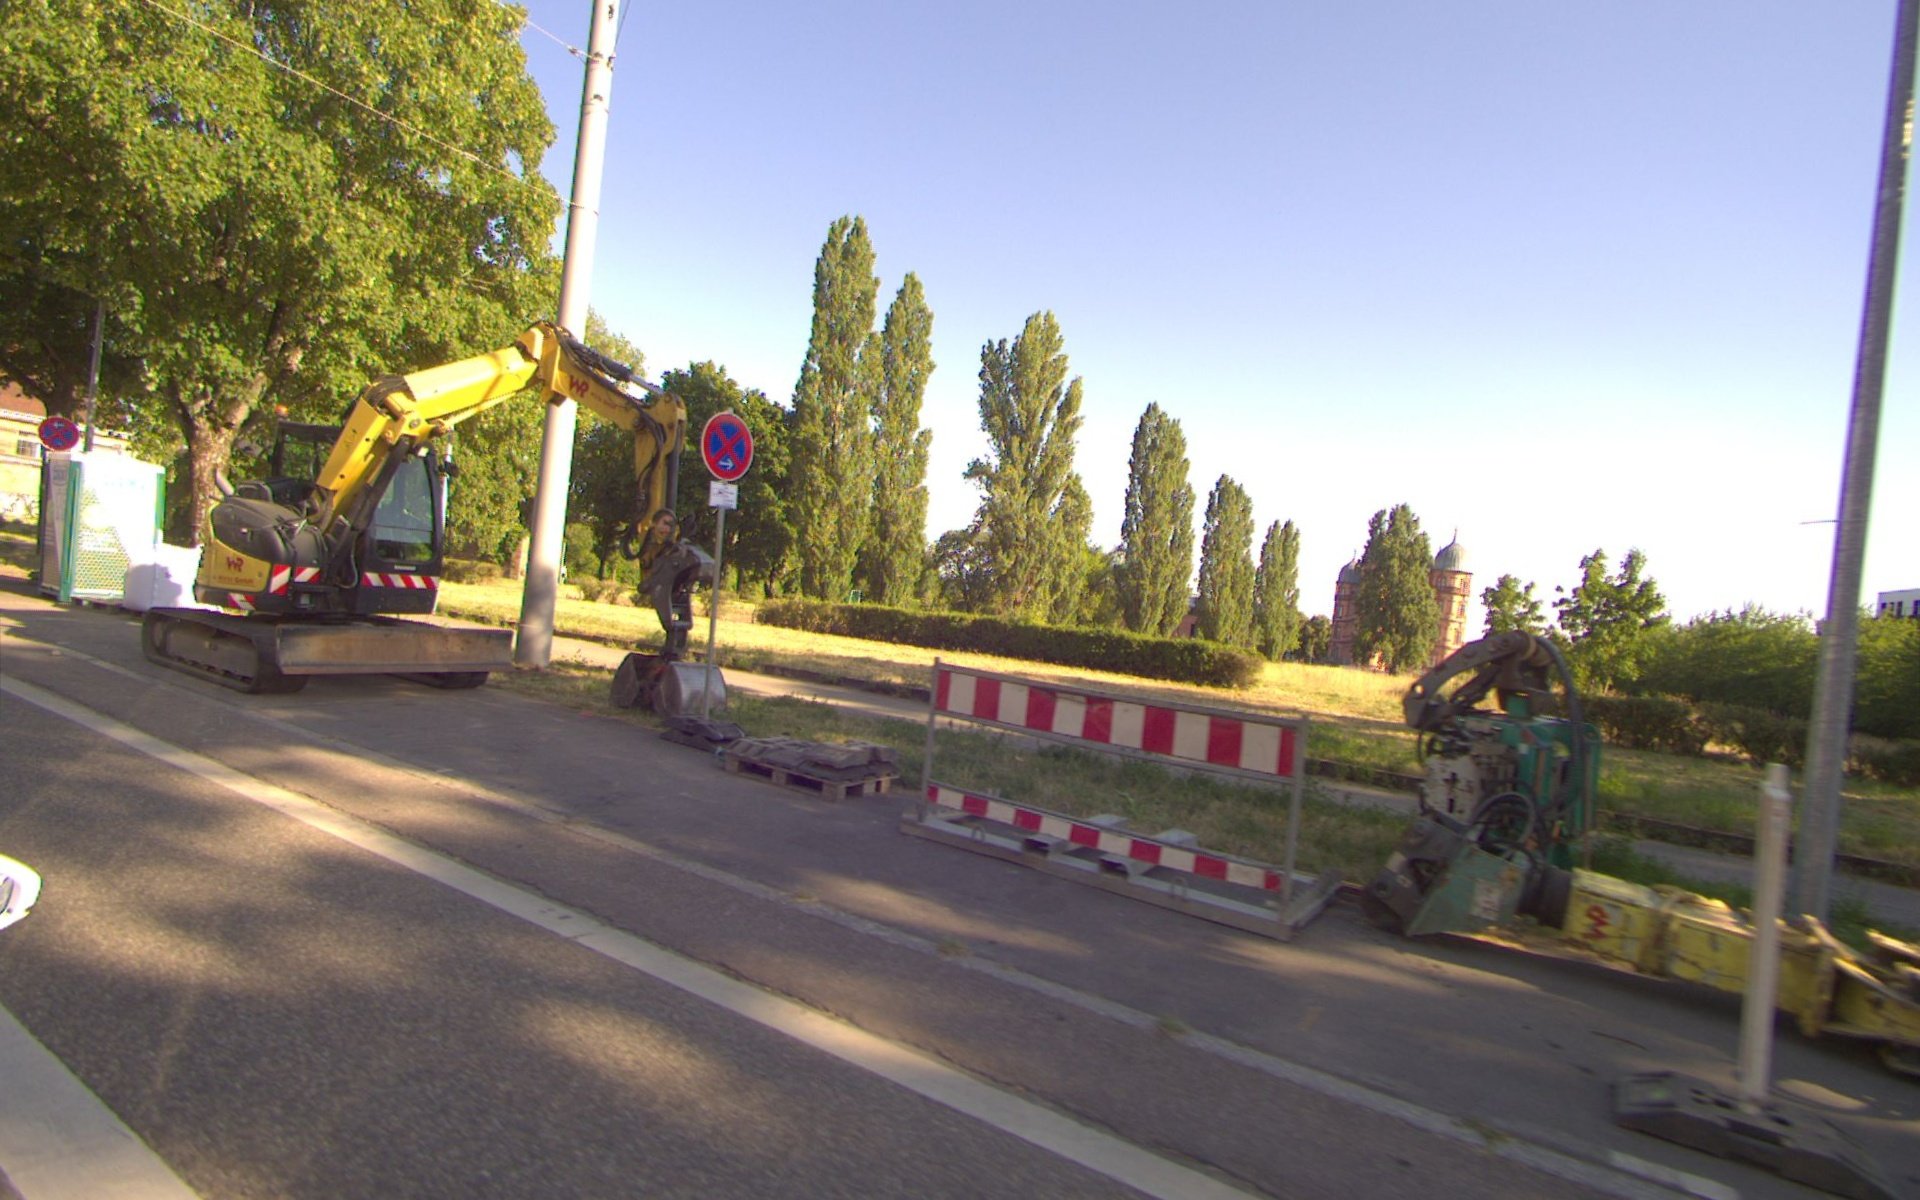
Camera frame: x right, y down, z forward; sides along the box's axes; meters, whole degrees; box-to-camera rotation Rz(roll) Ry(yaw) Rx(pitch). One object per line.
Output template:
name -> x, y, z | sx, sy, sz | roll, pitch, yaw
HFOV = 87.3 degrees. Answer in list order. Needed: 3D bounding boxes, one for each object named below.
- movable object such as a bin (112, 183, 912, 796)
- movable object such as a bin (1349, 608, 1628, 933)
movable object such as a bin -> -4.651, -0.989, 9.967 | 7.471, 4.029, 3.340 | 6, 2, 31
movable object such as a bin -> 3.424, 0.965, 6.494 | 1.282, 1.693, 1.315 | 6, 6, 36
